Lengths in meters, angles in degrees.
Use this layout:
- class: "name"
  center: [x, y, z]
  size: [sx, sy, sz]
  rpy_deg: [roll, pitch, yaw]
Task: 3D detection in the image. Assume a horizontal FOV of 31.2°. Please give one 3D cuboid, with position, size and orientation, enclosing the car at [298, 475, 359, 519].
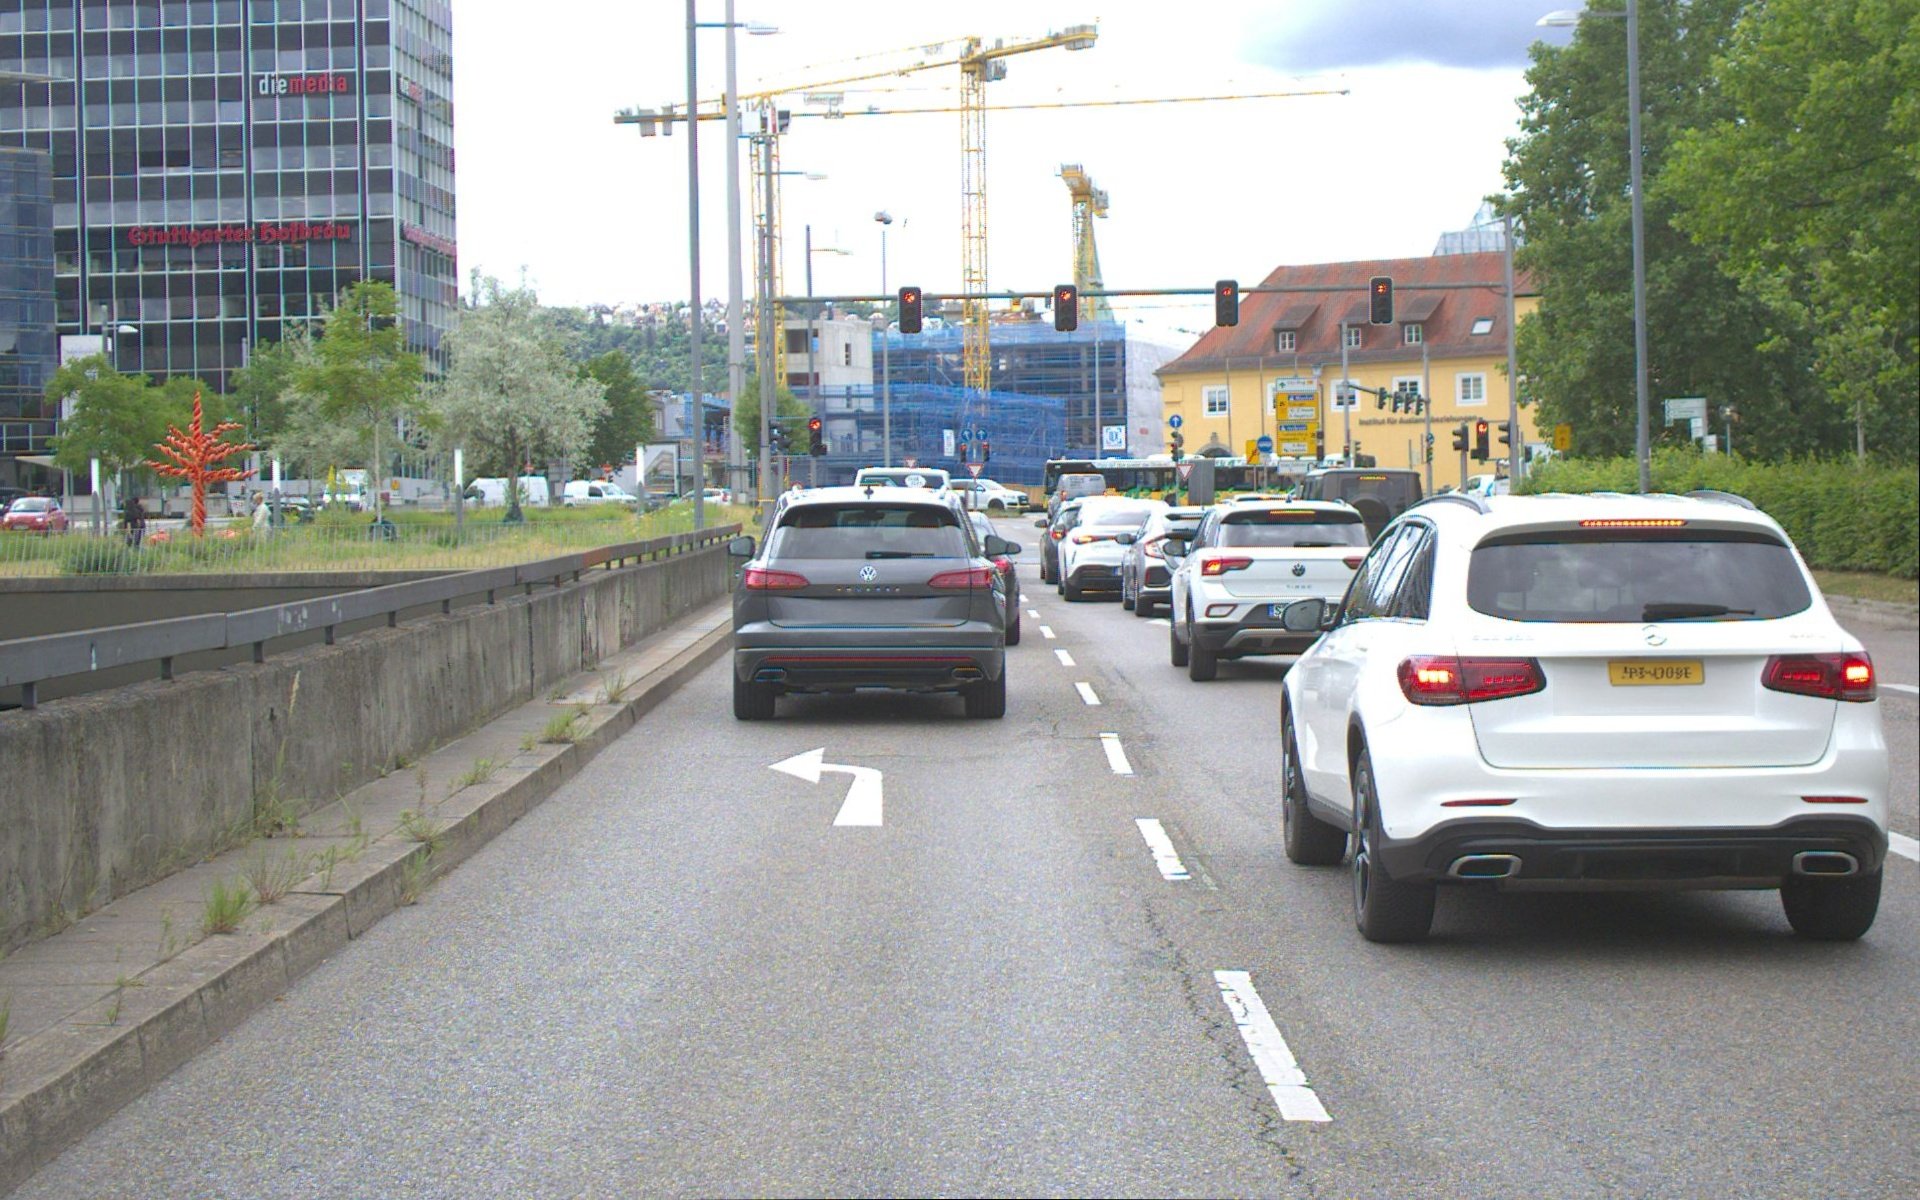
- class: "car"
  center: [-30.490, -4.992, 166.064]
  size: [1.993, 2.006, 4.692]
  rpy_deg: [-1, 3, 0]

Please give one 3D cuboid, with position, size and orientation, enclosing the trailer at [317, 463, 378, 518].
- class: "trailer"
  center: [-30.469, -5.480, 171.166]
  size: [2.037, 2.595, 5.509]
  rpy_deg: [1, 3, 0]

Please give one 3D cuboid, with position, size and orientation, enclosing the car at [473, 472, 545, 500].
- class: "car"
  center: [-26.850, -6.782, 204.618]
  size: [3.994, 1.563, 1.834]
  rpy_deg: [1, 1, 30]

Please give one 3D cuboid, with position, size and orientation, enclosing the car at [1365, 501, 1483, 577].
- class: "car"
  center: [9.295, -1.236, 69.121]
  size: [1.757, 1.442, 3.634]
  rpy_deg: [1, 1, -2]

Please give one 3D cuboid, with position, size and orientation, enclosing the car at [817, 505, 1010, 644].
- class: "car"
  center: [-0.501, -0.315, 37.206]
  size: [1.951, 1.379, 3.931]
  rpy_deg: [1, 2, -1]

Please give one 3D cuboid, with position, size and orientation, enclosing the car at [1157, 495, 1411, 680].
- class: "car"
  center: [2.833, -0.154, 30.933]
  size: [1.926, 1.545, 4.490]
  rpy_deg: [0, 1, 1]

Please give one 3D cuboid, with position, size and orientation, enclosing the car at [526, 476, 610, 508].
- class: "car"
  center: [-20.261, -5.602, 177.727]
  size: [4.108, 1.605, 1.826]
  rpy_deg: [1, 1, 35]

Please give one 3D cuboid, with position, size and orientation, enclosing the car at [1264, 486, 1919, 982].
- class: "car"
  center: [2.337, 0.398, 13.667]
  size: [1.926, 1.648, 4.490]
  rpy_deg: [0, 1, 1]

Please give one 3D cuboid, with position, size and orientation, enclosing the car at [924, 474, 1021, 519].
- class: "car"
  center: [0.581, -4.780, 159.231]
  size: [3.994, 2.007, 1.996]
  rpy_deg: [1, 1, 32]

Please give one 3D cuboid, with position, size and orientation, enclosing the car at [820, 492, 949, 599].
- class: "car"
  center: [-1.172, -0.895, 54.353]
  size: [1.951, 1.594, 3.931]
  rpy_deg: [1, 2, -1]

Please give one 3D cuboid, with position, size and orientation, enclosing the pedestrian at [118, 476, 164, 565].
- class: "pedestrian"
  center: [-18.815, -1.832, 79.008]
  size: [0.790, 2.006, 0.837]
  rpy_deg: [-3, 3, -27]

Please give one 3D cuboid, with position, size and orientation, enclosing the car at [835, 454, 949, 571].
- class: "car"
  center: [-1.208, -1.583, 61.836]
  size: [1.951, 2.011, 3.931]
  rpy_deg: [1, 2, -1]

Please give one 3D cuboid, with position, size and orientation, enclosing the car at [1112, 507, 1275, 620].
- class: "car"
  center: [3.038, -0.511, 45.571]
  size: [1.926, 1.427, 4.490]
  rpy_deg: [0, 1, 1]

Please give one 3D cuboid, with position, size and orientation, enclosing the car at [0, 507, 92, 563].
- class: "car"
  center: [-32.290, -2.317, 121.448]
  size: [2.174, 1.848, 4.737]
  rpy_deg: [-1, 2, -2]

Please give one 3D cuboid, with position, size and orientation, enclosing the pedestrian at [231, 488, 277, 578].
- class: "pedestrian"
  center: [-16.078, -1.522, 78.336]
  size: [0.860, 2.006, 0.629]
  rpy_deg: [-1, 3, -1]

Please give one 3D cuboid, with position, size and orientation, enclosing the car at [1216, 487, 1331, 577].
- class: "car"
  center: [6.176, -1.346, 68.041]
  size: [1.910, 1.691, 4.012]
  rpy_deg: [1, 1, 1]

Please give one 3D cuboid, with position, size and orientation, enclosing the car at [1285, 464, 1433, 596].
- class: "car"
  center: [6.333, -1.121, 54.947]
  size: [1.910, 2.007, 4.012]
  rpy_deg: [1, 1, 1]

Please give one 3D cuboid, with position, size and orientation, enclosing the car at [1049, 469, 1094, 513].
- class: "car"
  center: [4.356, -4.257, 134.670]
  size: [1.619, 1.621, 4.000]
  rpy_deg: [1, 1, 1]

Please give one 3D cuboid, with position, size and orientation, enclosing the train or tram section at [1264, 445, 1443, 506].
- class: "train or tram section"
  center: [19.952, -6.306, 174.701]
  size: [8.941, 2.999, 2.591]
  rpy_deg: [1, 1, 38]

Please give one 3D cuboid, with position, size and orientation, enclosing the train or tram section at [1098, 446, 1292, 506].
- class: "train or tram section"
  center: [12.297, -6.503, 180.596]
  size: [10.418, 2.999, 2.591]
  rpy_deg: [1, 1, 37]

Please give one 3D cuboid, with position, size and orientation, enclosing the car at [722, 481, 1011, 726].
- class: "car"
  center: [-0.661, -0.039, 25.564]
  size: [1.951, 1.645, 4.001]
  rpy_deg: [1, 2, -1]

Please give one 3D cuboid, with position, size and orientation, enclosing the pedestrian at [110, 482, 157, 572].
- class: "pedestrian"
  center: [-18.780, -1.673, 78.106]
  size: [0.790, 2.006, 0.837]
  rpy_deg: [-3, 3, -27]

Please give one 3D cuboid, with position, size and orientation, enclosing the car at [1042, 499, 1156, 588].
- class: "car"
  center: [2.434, -1.021, 61.113]
  size: [1.926, 1.524, 4.048]
  rpy_deg: [0, 1, 1]

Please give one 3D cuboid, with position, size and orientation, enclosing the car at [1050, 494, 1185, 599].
- class: "car"
  center: [2.354, -0.831, 52.293]
  size: [1.926, 1.524, 4.490]
  rpy_deg: [0, 1, 1]

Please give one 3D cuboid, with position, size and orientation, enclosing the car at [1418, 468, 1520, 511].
- class: "car"
  center: [24.707, -5.374, 166.983]
  size: [4.454, 2.007, 1.996]
  rpy_deg: [1, 1, 34]
